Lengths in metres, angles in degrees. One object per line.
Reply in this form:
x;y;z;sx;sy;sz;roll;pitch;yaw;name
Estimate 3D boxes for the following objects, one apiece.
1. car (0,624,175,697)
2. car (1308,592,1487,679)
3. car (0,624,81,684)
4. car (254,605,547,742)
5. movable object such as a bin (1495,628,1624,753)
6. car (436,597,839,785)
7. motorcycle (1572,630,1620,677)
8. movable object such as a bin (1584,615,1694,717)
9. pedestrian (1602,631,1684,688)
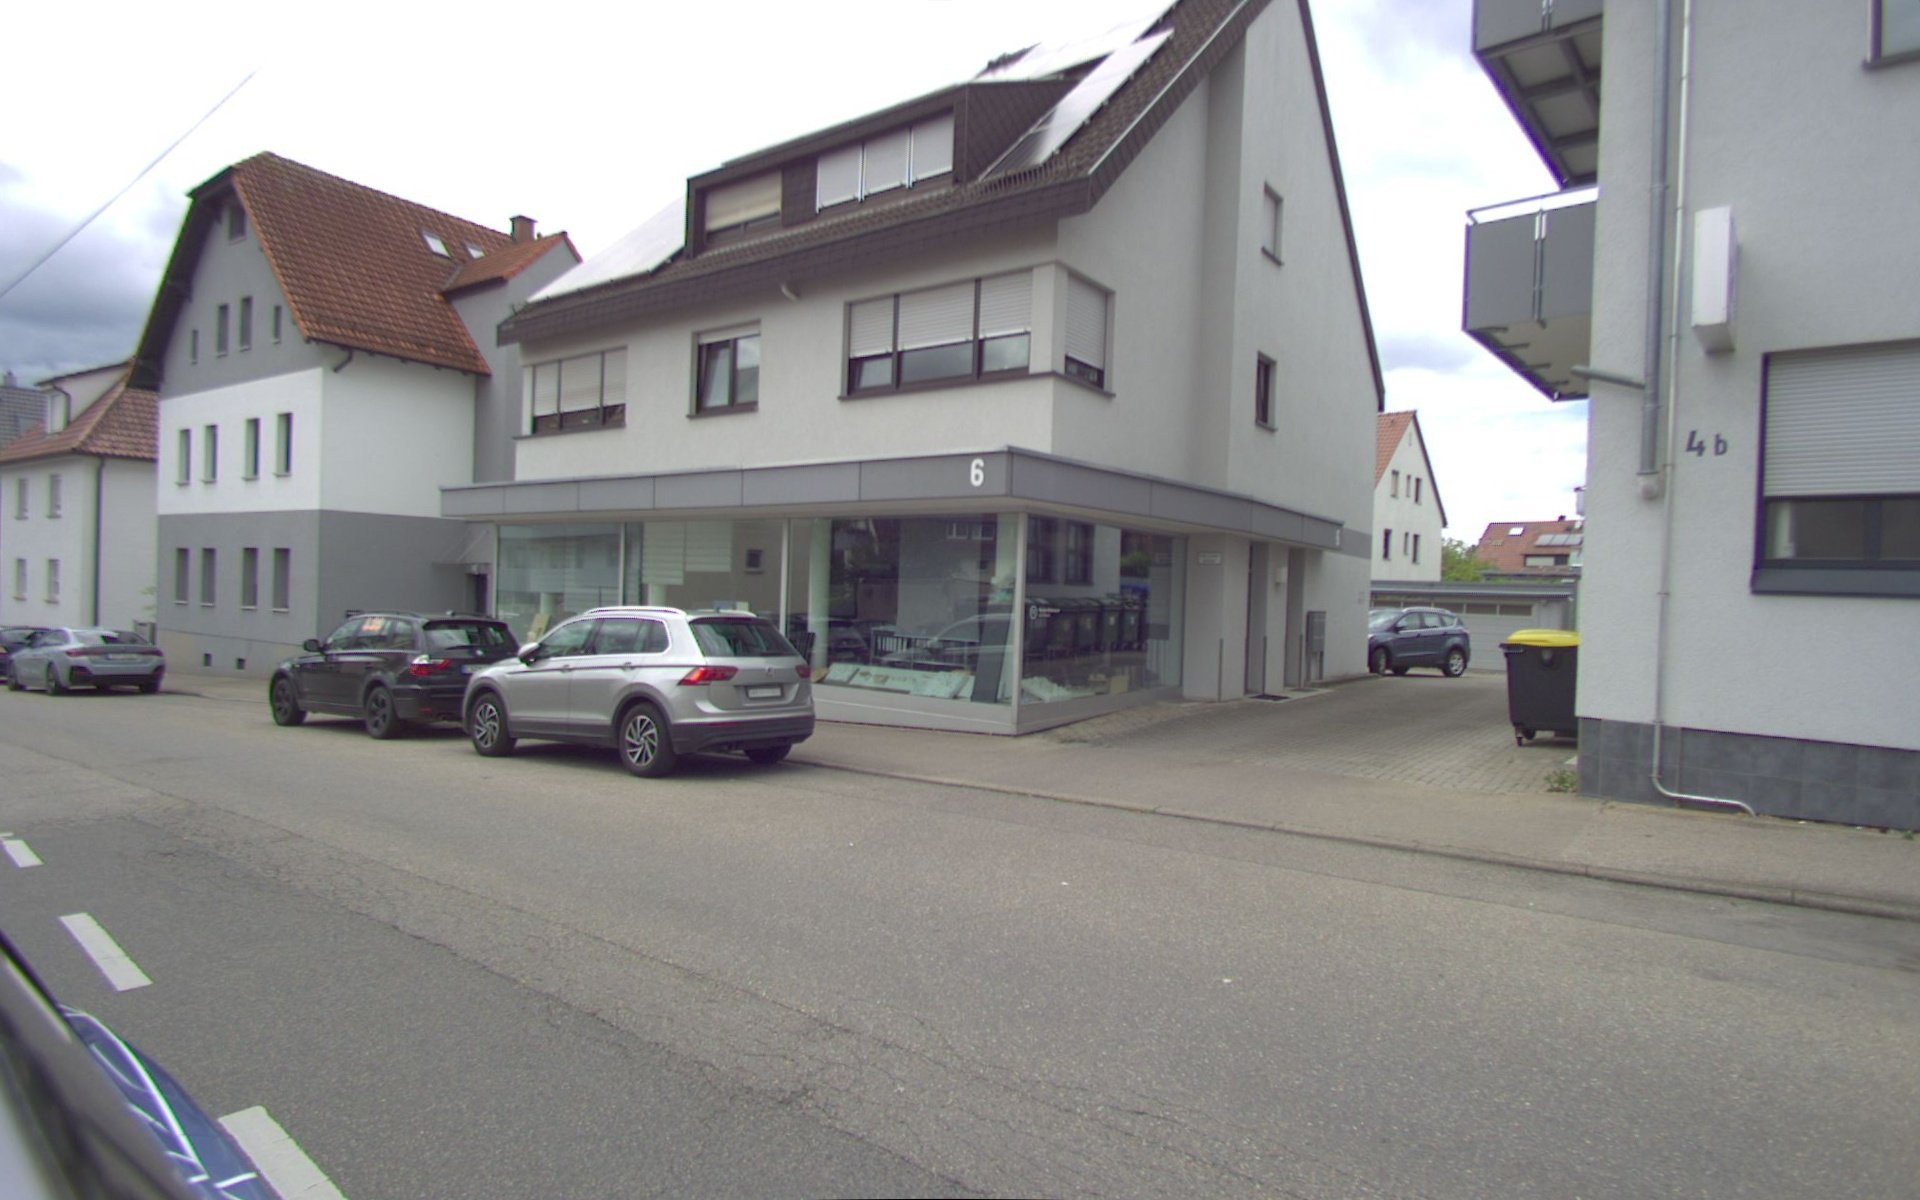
-19.313;1.287;22.326;4.456;1.456;1.822;-1;-3;34;car
10.797;0.891;24.991;3.891;1.985;1.993;2;-2;-25;car
-24.711;1.356;26.207;3.986;1.456;1.823;-1;-3;32;car
-7.955;0.958;14.273;4.397;1.645;1.822;-1;-3;35;car
6.890;1.002;11.639;1.147;1.309;0.773;-1;1;41;movable object such as a bin
-3.566;0.862;10.900;4.397;1.645;1.822;-1;-3;35;car
17.631;1.467;28.037;0.890;1.173;1.639;-1;1;41;motorcycle
10.576;0.988;15.771;1.102;1.468;1.218;-1;1;-44;movable object such as a bin
14.709;1.269;21.800;1.305;1.120;1.009;-1;1;43;pedestrian
